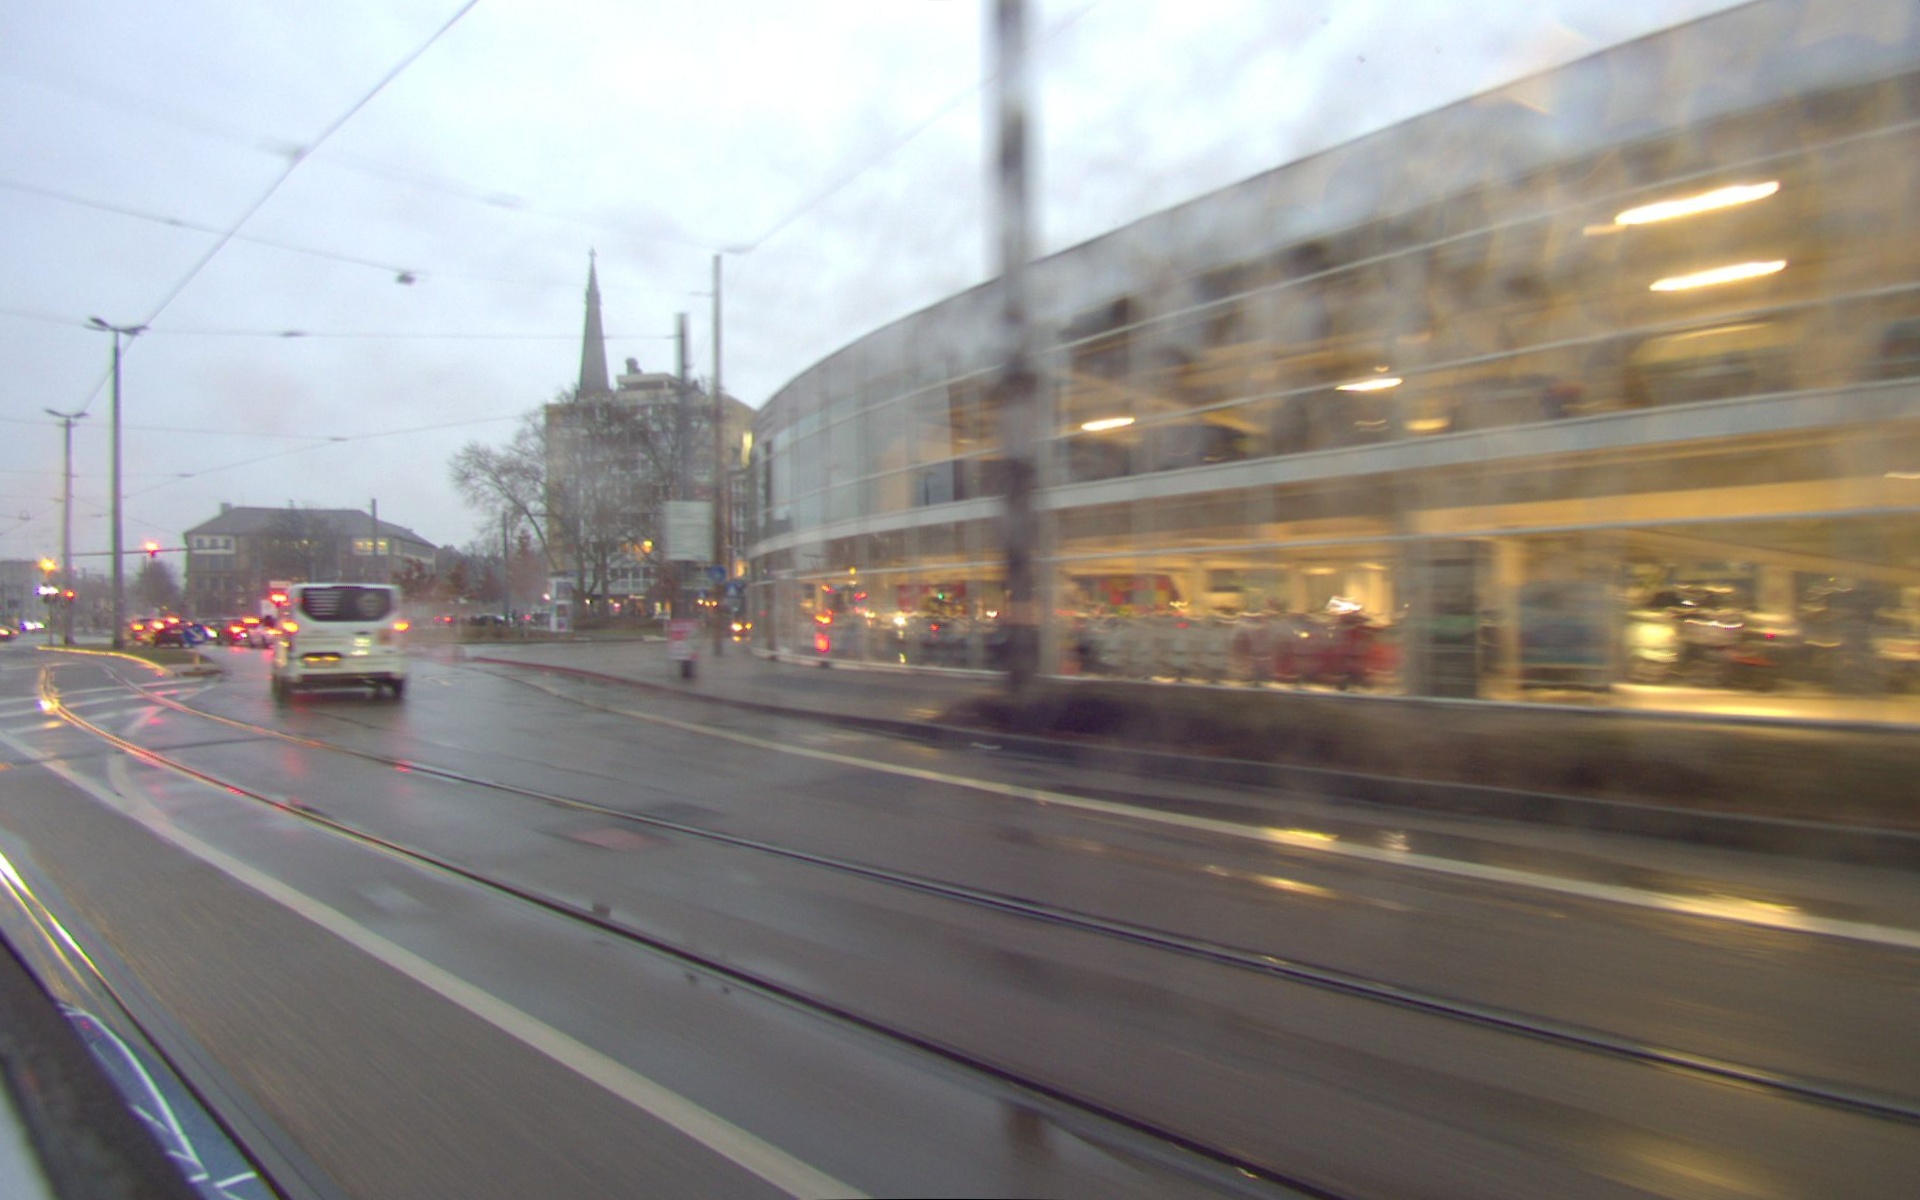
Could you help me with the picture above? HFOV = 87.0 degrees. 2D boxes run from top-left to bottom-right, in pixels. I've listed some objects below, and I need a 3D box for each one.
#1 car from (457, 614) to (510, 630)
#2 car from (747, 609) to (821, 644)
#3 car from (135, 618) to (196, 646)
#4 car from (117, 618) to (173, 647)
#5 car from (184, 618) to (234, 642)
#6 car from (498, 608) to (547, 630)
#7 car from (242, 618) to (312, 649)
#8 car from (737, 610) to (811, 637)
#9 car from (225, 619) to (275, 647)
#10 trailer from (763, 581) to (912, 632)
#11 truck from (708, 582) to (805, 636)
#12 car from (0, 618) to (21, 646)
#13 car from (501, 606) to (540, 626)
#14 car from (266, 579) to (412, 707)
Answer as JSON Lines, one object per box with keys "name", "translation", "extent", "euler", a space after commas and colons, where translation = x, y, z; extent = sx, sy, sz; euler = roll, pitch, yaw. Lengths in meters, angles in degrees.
{"name": "car", "translation": [-43.969, 2.036, 93.371], "extent": [3.949, 1.320, 1.997], "euler": [-1, 1, 5]}
{"name": "car", "translation": [-7.938, 1.158, 46.082], "extent": [1.726, 1.409, 4.275], "euler": [-1, 1, 14]}
{"name": "car", "translation": [-40.622, 1.617, 51.715], "extent": [4.001, 1.401, 1.851], "euler": [-1, -2, 44]}
{"name": "car", "translation": [-45.595, 1.804, 56.622], "extent": [4.000, 1.497, 1.879], "euler": [-1, 0, 43]}
{"name": "car", "translation": [-44.879, 1.770, 60.449], "extent": [4.000, 1.368, 1.705], "euler": [-1, 0, 43]}
{"name": "car", "translation": [-43.403, 1.863, 100.512], "extent": [3.949, 2.029, 1.997], "euler": [-1, 0, 5]}
{"name": "car", "translation": [-34.106, 1.628, 50.476], "extent": [4.588, 1.432, 1.971], "euler": [-1, 0, 44]}
{"name": "car", "translation": [-11.623, 1.438, 63.432], "extent": [1.991, 1.508, 4.763], "euler": [-1, 0, 29]}
{"name": "car", "translation": [-38.917, 1.771, 55.426], "extent": [3.472, 1.429, 1.583], "euler": [-1, 0, 44]}
{"name": "trailer", "translation": [-8.886, 0.352, 76.999], "extent": [2.627, 3.443, 14.899], "euler": [-1, 1, 31]}
{"name": "truck", "translation": [-13.720, 0.540, 68.860], "extent": [2.648, 3.443, 6.685], "euler": [-1, 1, 31]}
{"name": "car", "translation": [-72.738, 2.431, 74.114], "extent": [5.459, 2.029, 2.006], "euler": [-1, 0, -15]}
{"name": "car", "translation": [-49.514, 1.780, 113.983], "extent": [3.931, 2.029, 2.007], "euler": [-1, 1, -23]}
{"name": "car", "translation": [-11.572, 0.689, 18.708], "extent": [1.967, 2.029, 4.696], "euler": [-2, 1, -35]}
